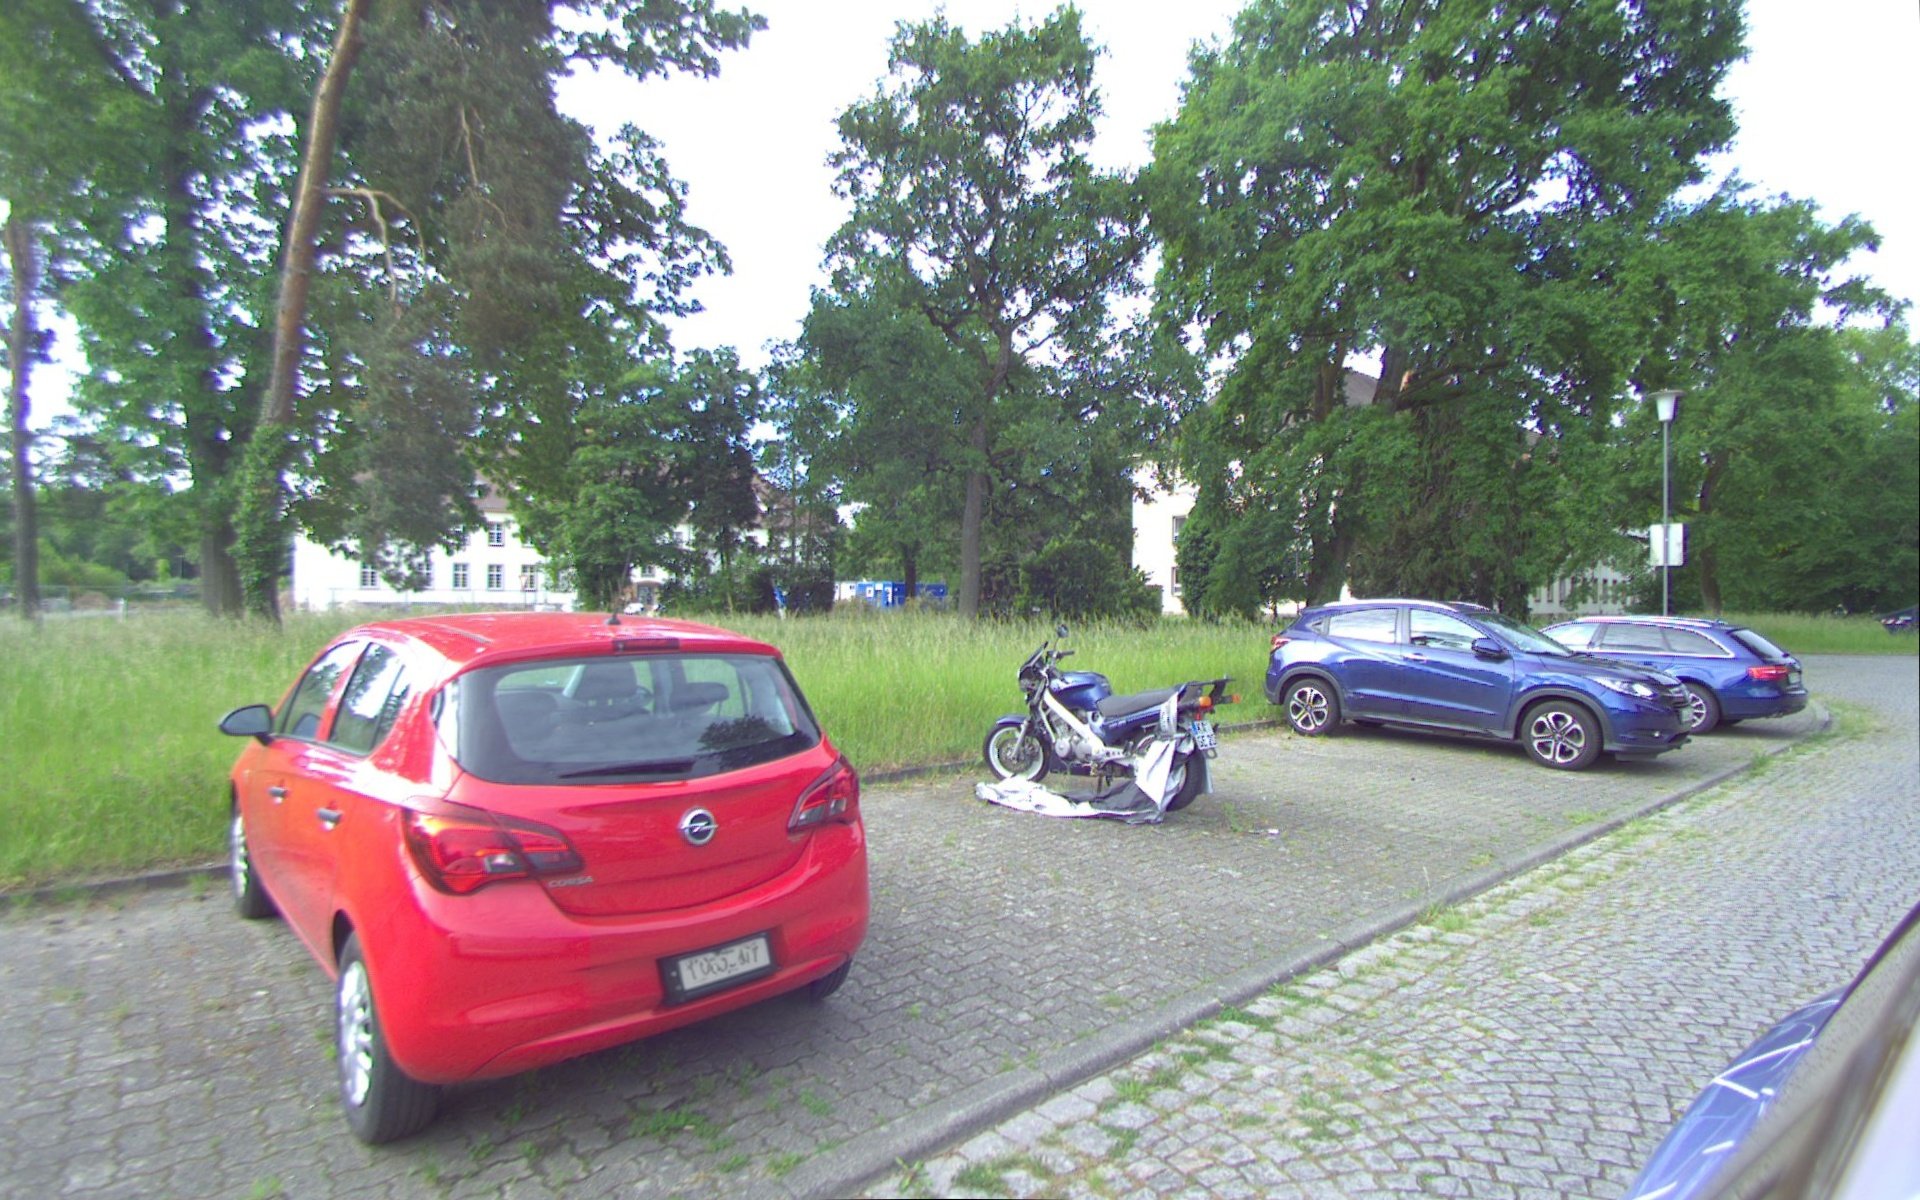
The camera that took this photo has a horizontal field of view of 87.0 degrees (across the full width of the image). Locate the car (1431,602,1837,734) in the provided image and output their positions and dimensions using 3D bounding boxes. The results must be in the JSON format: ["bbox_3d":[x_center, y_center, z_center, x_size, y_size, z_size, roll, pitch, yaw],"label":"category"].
[{"bbox_3d":[9.177,0.803,14.114,1.892,1.457,4.367,1,1,-39],"label":"car"}]

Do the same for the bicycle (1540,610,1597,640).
[{"bbox_3d":[24.067,0.977,40.050,1.838,1.185,0.484,-1,-1,24],"label":"bicycle"}]

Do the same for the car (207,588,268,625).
[{"bbox_3d":[-55.361,0.510,77.491,5.647,2.675,2.247,-2,-1,37],"label":"car"}]

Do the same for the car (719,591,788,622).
[{"bbox_3d":[-15.717,0.491,77.271,4.854,2.333,1.920,0,0,-42],"label":"car"}]

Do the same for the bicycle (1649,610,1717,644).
[{"bbox_3d":[26.334,0.991,36.897,1.916,1.185,0.484,-2,-2,22],"label":"bicycle"}]

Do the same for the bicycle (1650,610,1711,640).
[{"bbox_3d":[28.898,1.001,40.627,1.920,1.185,0.483,-2,-2,27],"label":"bicycle"}]

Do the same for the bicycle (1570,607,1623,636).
[{"bbox_3d":[27.218,0.906,43.269,1.851,1.185,0.481,2,0,40],"label":"bicycle"}]

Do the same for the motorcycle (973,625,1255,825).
[{"bbox_3d":[1.076,0.840,7.632,0.558,1.217,2.232,1,1,-43],"label":"motorcycle"}]

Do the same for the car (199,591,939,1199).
[{"bbox_3d":[-2.045,0.748,4.492,1.754,1.515,3.928,1,1,-43],"label":"car"}]

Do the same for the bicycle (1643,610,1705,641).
[{"bbox_3d":[28.405,1.004,40.276,1.920,1.185,0.483,-2,-2,27],"label":"bicycle"}]

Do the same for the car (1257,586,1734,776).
[{"bbox_3d":[5.643,0.694,11.080,1.854,1.643,4.250,1,1,-43],"label":"car"}]

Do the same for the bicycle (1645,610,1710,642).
[{"bbox_3d":[27.161,0.997,38.338,1.918,1.185,0.484,-2,-2,24],"label":"bicycle"}]

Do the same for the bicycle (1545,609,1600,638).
[{"bbox_3d":[25.252,0.956,41.754,1.836,1.185,0.485,0,-1,20],"label":"bicycle"}]

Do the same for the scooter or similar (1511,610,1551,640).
[{"bbox_3d":[22.784,1.004,40.360,0.406,1.185,1.306,0,-2,-42],"label":"scooter or similar"}]

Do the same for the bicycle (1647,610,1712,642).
[{"bbox_3d":[27.568,0.997,38.789,1.918,1.185,0.484,-2,-2,24],"label":"bicycle"}]

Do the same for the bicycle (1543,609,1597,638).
[{"bbox_3d":[24.786,0.955,41.140,1.842,1.185,0.483,-1,-1,28],"label":"bicycle"}]

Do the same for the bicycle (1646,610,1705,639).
[{"bbox_3d":[29.514,1.007,41.774,1.925,1.185,0.531,-2,-2,33],"label":"bicycle"}]

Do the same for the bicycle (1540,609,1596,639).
[{"bbox_3d":[24.350,0.954,40.576,1.838,1.185,0.484,-1,-1,24],"label":"bicycle"}]

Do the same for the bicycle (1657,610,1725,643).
[{"bbox_3d":[26.902,0.985,37.258,1.916,1.185,0.484,-2,-2,22],"label":"bicycle"}]
